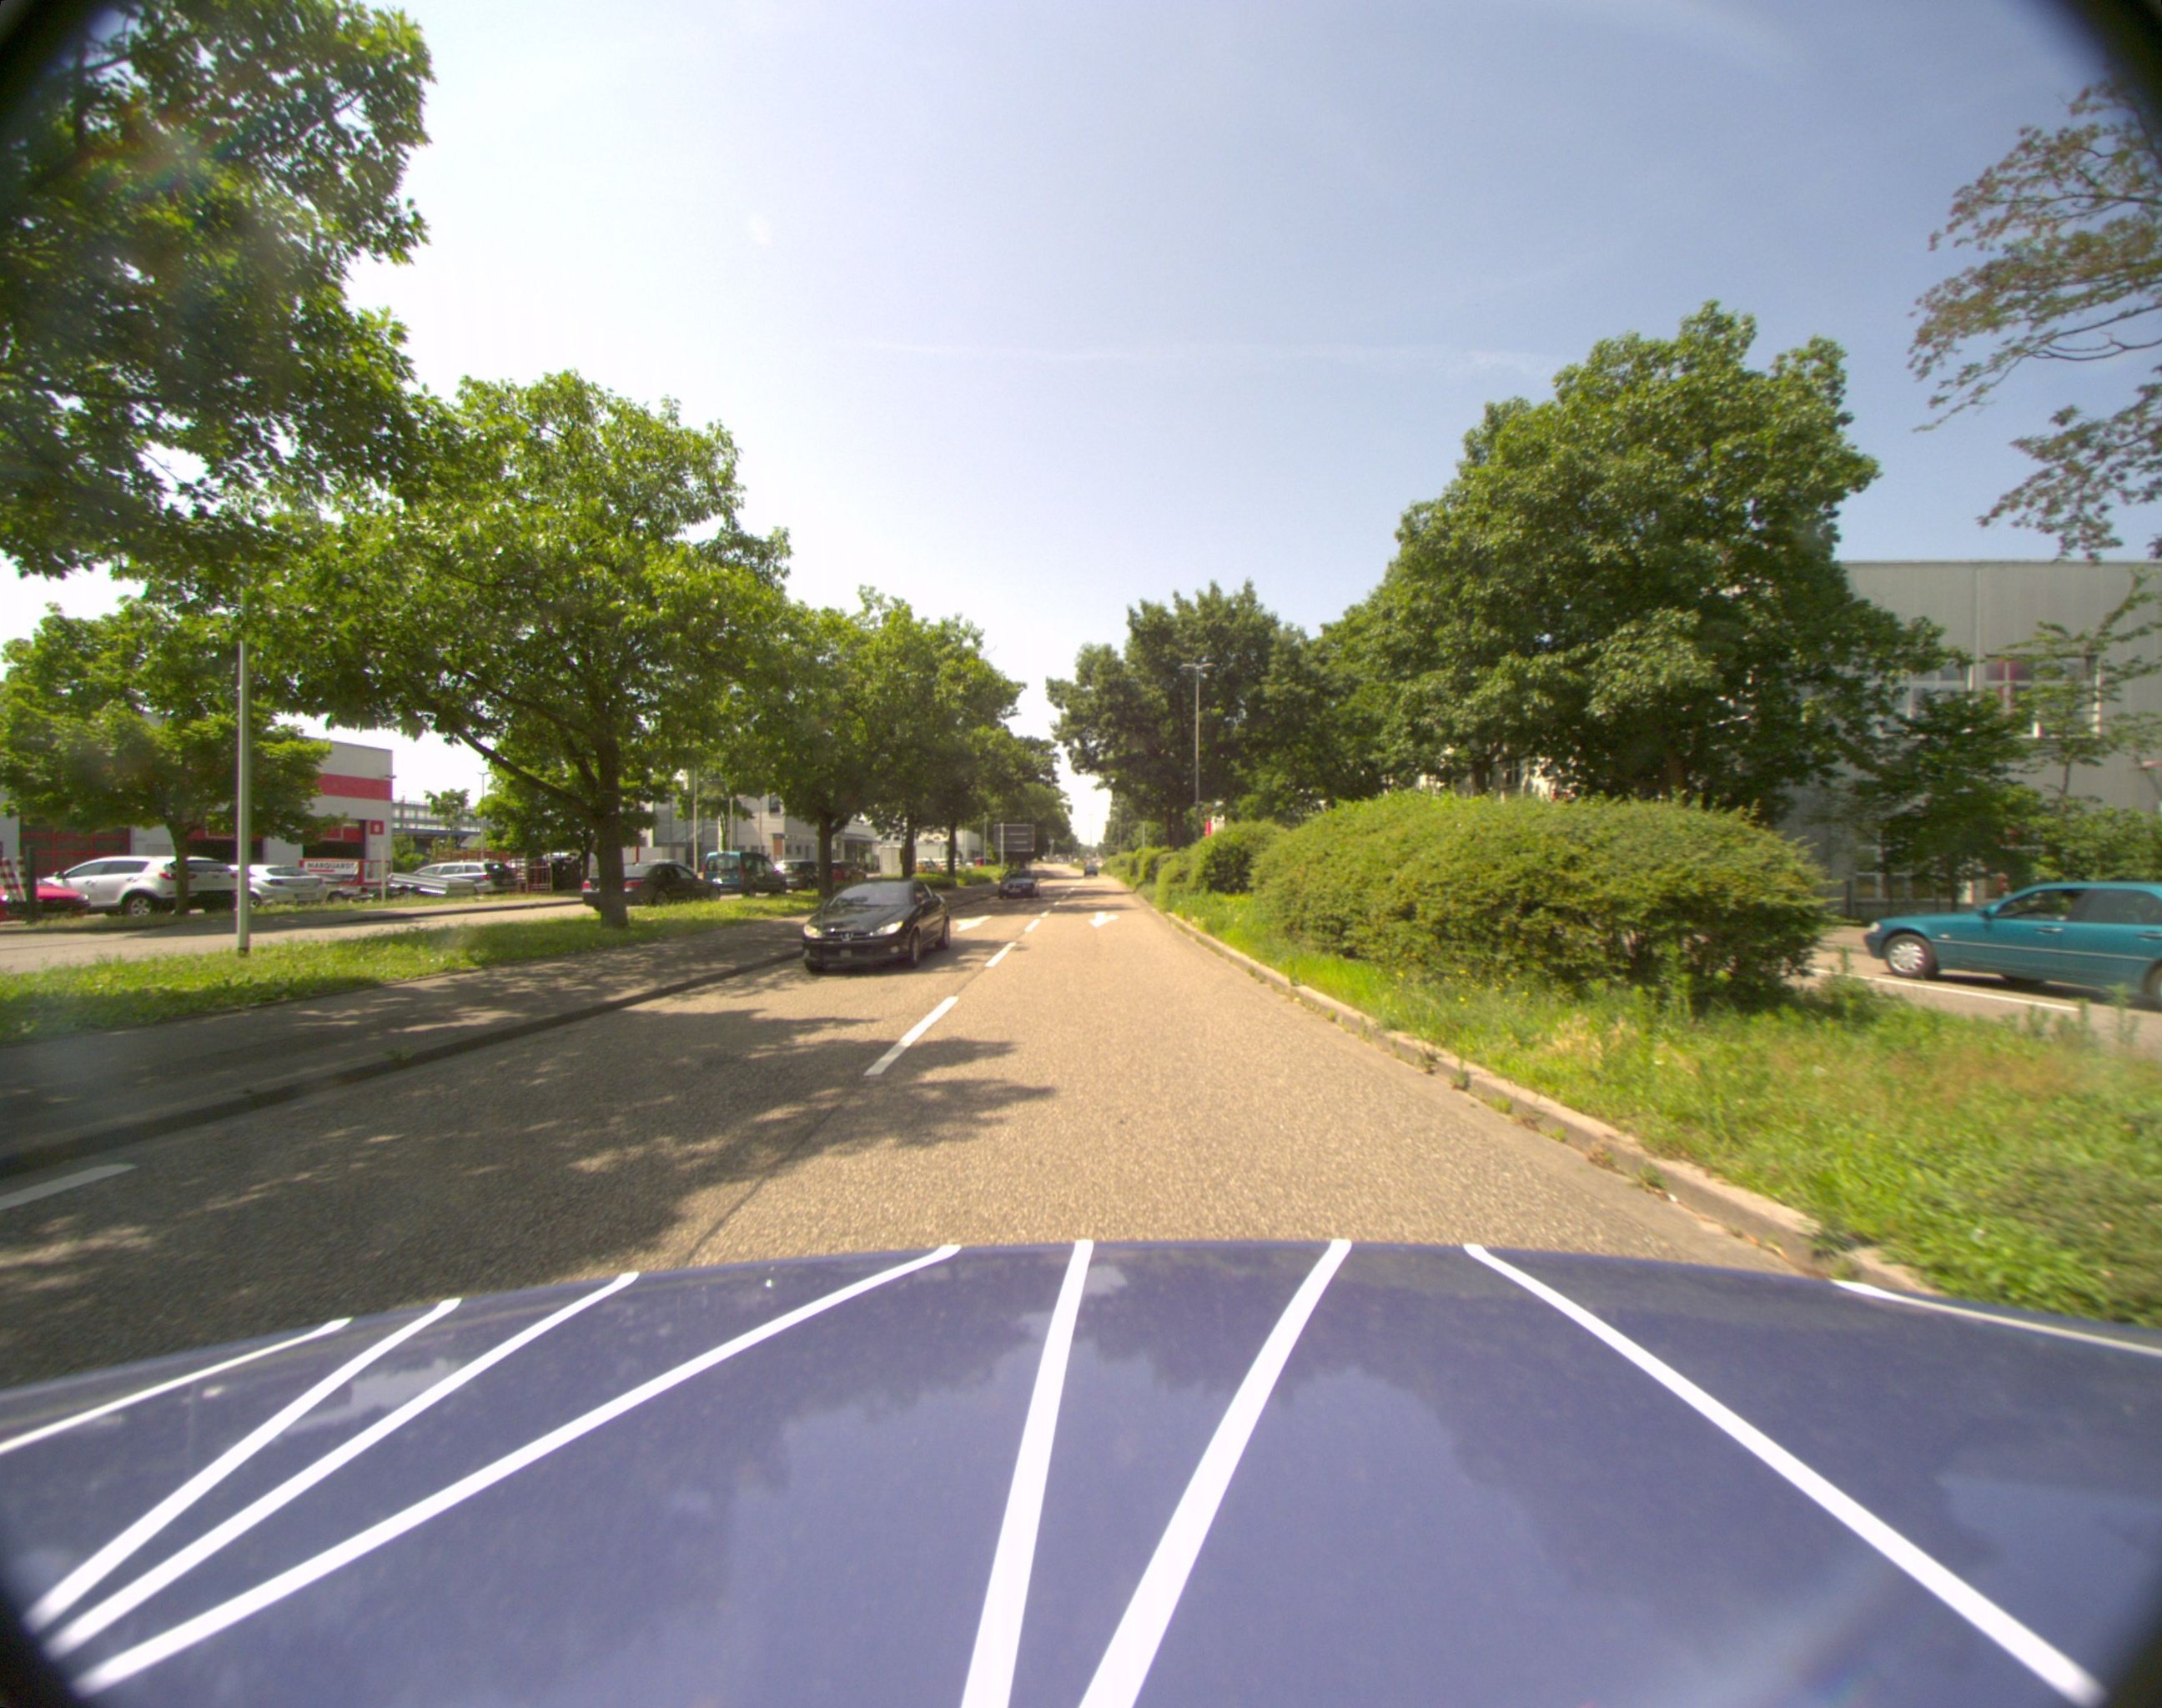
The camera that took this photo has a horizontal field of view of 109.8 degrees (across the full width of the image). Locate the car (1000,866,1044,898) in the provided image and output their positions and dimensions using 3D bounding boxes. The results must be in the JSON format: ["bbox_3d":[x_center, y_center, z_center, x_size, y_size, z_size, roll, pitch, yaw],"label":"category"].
[{"bbox_3d":[-2.764,1.307,36.402,1.642,1.363,4.145,-2,0,1],"label":"car"}]

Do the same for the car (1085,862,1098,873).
[{"bbox_3d":[1.404,1.750,98.551,1.642,1.395,4.000,0,0,1],"label":"car"}]

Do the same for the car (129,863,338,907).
[{"bbox_3d":[-24.382,0.884,21.980,3.997,1.201,1.747,0,0,-1],"label":"car"}]

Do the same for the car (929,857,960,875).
[{"bbox_3d":[-11.394,0.980,63.587,1.719,1.458,4.001,0,0,2],"label":"car"}]

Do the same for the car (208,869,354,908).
[{"bbox_3d":[-26.013,1.101,24.763,3.216,1.201,1.447,0,0,0],"label":"car"}]

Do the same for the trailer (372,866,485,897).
[{"bbox_3d":[-23.242,0.970,27.122,2.642,1.046,1.578,0,0,-1],"label":"trailer"}]

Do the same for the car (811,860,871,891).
[{"bbox_3d":[-12.445,1.071,39.661,1.719,1.504,4.001,0,0,2],"label":"car"}]

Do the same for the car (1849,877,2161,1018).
[{"bbox_3d":[12.147,1.063,8.856,1.690,1.379,4.588,2,0,0],"label":"car"}]

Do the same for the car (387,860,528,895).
[{"bbox_3d":[-23.896,0.875,29.223,3.997,1.293,1.689,0,0,-1],"label":"car"}]

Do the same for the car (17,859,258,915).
[{"bbox_3d":[-24.398,0.834,19.760,3.997,1.394,1.747,0,0,-1],"label":"car"}]

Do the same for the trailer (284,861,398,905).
[{"bbox_3d":[-26.301,1.013,27.047,2.642,1.518,1.415,0,0,-1],"label":"trailer"}]

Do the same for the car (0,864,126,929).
[{"bbox_3d":[-24.902,0.925,17.326,3.997,1.394,1.747,0,0,-1],"label":"car"}]

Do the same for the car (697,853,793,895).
[{"bbox_3d":[-12.404,0.716,28.330,1.719,1.458,4.001,0,0,2],"label":"car"}]

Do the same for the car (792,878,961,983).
[{"bbox_3d":[-3.213,1.143,12.754,1.642,1.336,4.000,-2,0,1],"label":"car"}]

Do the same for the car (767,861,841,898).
[{"bbox_3d":[-12.218,1.074,33.773,1.719,1.511,4.001,0,0,2],"label":"car"}]

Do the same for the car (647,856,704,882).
[{"bbox_3d":[-25.562,0.929,48.069,1.759,1.586,3.998,0,0,-5],"label":"car"}]

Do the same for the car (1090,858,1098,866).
[{"bbox_3d":[3.067,1.913,180.074,1.998,1.692,4.000,0,0,1],"label":"car"}]

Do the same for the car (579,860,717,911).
[{"bbox_3d":[-12.520,0.857,22.298,1.642,1.363,4.001,0,0,2],"label":"car"}]

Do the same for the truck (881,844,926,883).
[{"bbox_3d":[-11.918,0.646,51.335,1.904,2.552,4.001,0,0,3],"label":"truck"}]

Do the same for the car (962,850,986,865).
[{"bbox_3d":[-10.911,0.344,77.521,1.719,1.458,4.001,0,0,2],"label":"car"}]

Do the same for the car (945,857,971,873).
[{"bbox_3d":[-11.537,1.025,71.544,1.719,1.458,4.001,0,0,2],"label":"car"}]

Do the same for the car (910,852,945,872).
[{"bbox_3d":[-11.502,0.584,57.227,1.719,1.458,4.001,0,0,2],"label":"car"}]
